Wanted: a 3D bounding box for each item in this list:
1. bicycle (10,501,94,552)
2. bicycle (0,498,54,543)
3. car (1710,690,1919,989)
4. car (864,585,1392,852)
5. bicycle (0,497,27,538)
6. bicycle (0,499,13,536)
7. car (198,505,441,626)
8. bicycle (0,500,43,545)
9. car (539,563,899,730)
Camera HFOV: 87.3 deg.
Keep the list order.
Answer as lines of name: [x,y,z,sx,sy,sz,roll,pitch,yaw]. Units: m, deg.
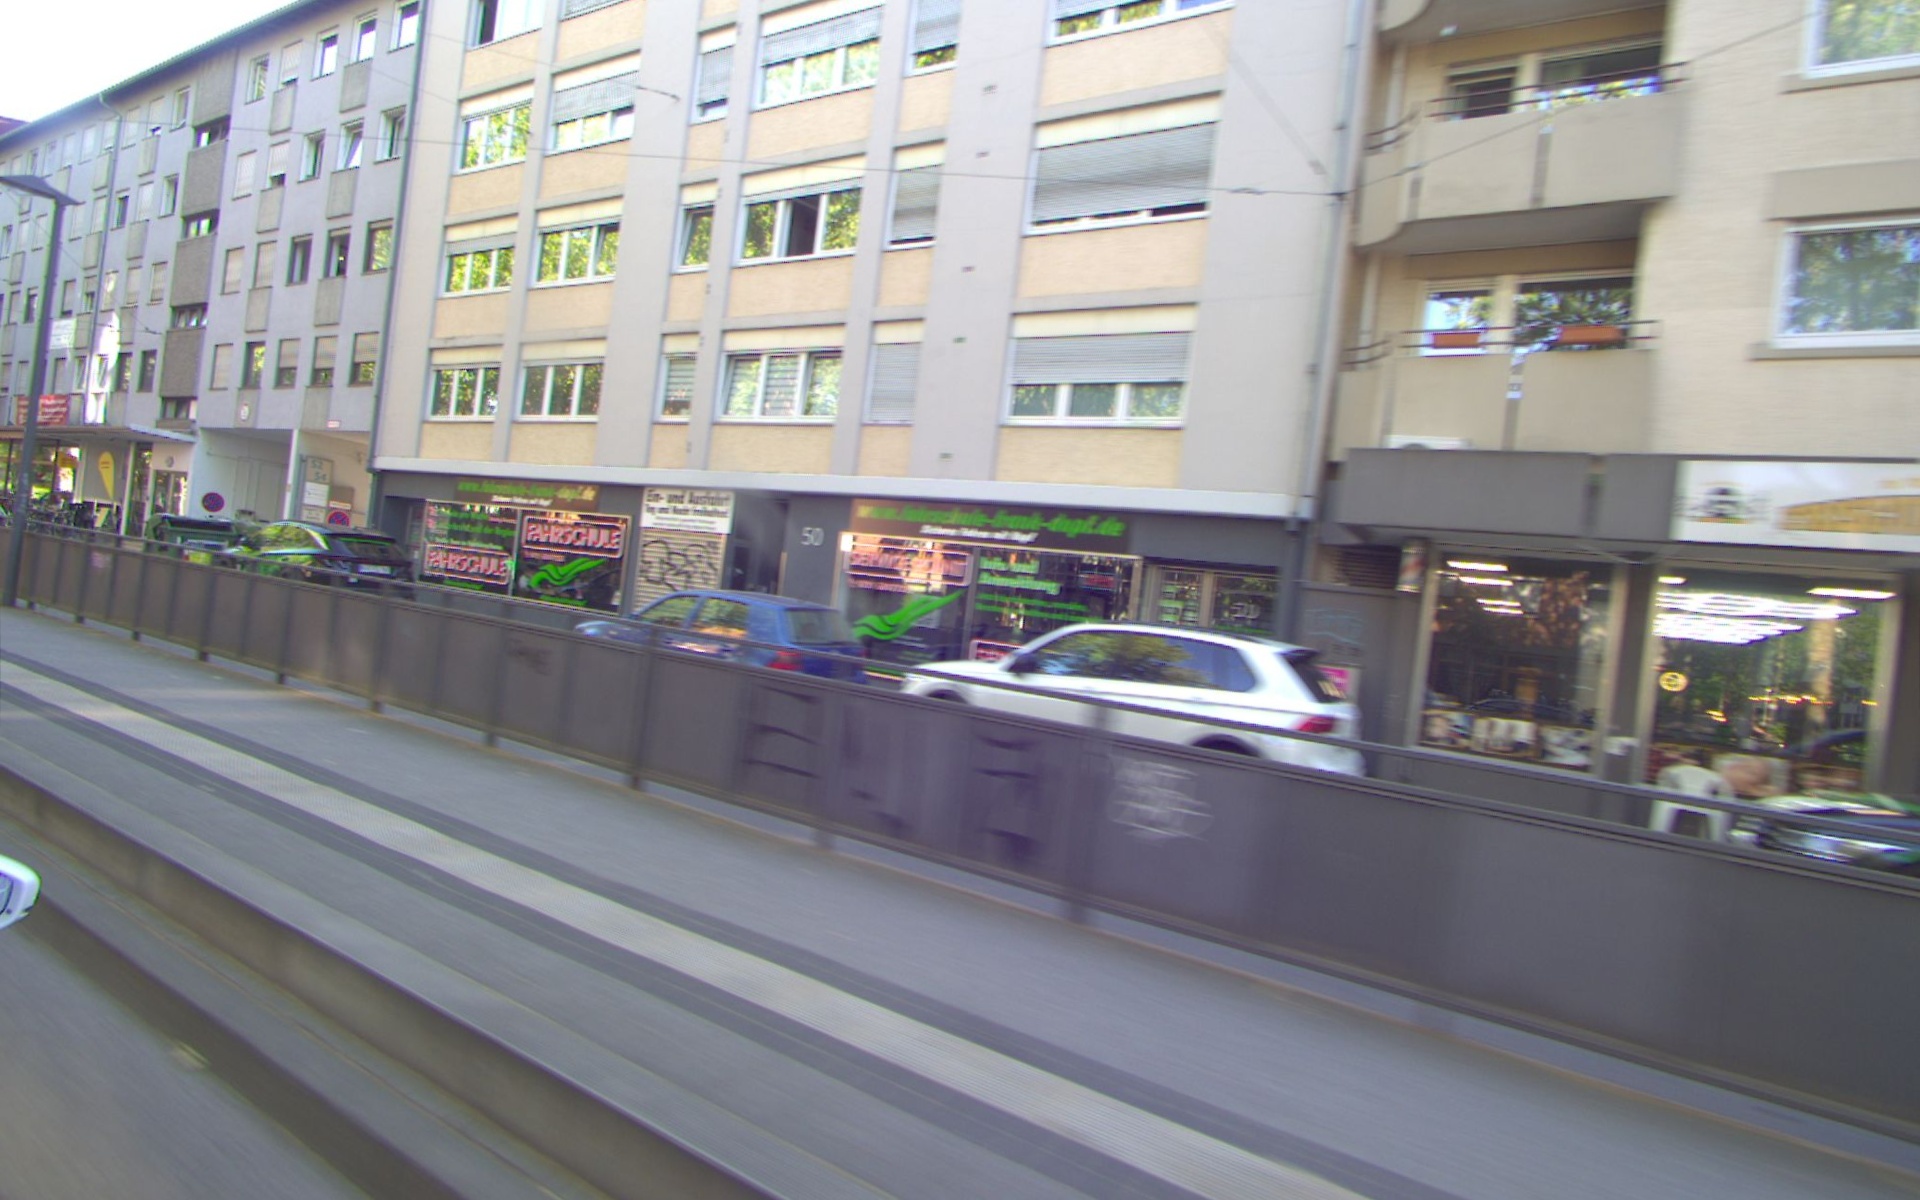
bicycle: [-25.433,-2.055,28.167,2.394,1.149,0.623,7,-1,21]
bicycle: [-28.420,-2.433,30.096,2.867,1.149,0.613,7,-1,21]
car: [7.357,1.669,5.945,4.372,1.634,1.997,6,-2,32]
car: [1.464,0.945,9.354,4.342,1.624,1.803,6,-2,32]
bicycle: [-30.002,-2.628,31.297,2.163,1.149,0.411,7,-1,21]
bicycle: [-31.502,-2.758,32.323,2.163,1.149,0.599,7,-1,21]
car: [-11.524,-0.638,18.030,4.325,1.634,1.861,6,-2,32]
bicycle: [-27.669,-2.307,29.082,2.390,1.149,0.604,7,-1,21]
car: [-3.018,0.535,12.350,4.177,1.457,1.747,6,-2,32]
